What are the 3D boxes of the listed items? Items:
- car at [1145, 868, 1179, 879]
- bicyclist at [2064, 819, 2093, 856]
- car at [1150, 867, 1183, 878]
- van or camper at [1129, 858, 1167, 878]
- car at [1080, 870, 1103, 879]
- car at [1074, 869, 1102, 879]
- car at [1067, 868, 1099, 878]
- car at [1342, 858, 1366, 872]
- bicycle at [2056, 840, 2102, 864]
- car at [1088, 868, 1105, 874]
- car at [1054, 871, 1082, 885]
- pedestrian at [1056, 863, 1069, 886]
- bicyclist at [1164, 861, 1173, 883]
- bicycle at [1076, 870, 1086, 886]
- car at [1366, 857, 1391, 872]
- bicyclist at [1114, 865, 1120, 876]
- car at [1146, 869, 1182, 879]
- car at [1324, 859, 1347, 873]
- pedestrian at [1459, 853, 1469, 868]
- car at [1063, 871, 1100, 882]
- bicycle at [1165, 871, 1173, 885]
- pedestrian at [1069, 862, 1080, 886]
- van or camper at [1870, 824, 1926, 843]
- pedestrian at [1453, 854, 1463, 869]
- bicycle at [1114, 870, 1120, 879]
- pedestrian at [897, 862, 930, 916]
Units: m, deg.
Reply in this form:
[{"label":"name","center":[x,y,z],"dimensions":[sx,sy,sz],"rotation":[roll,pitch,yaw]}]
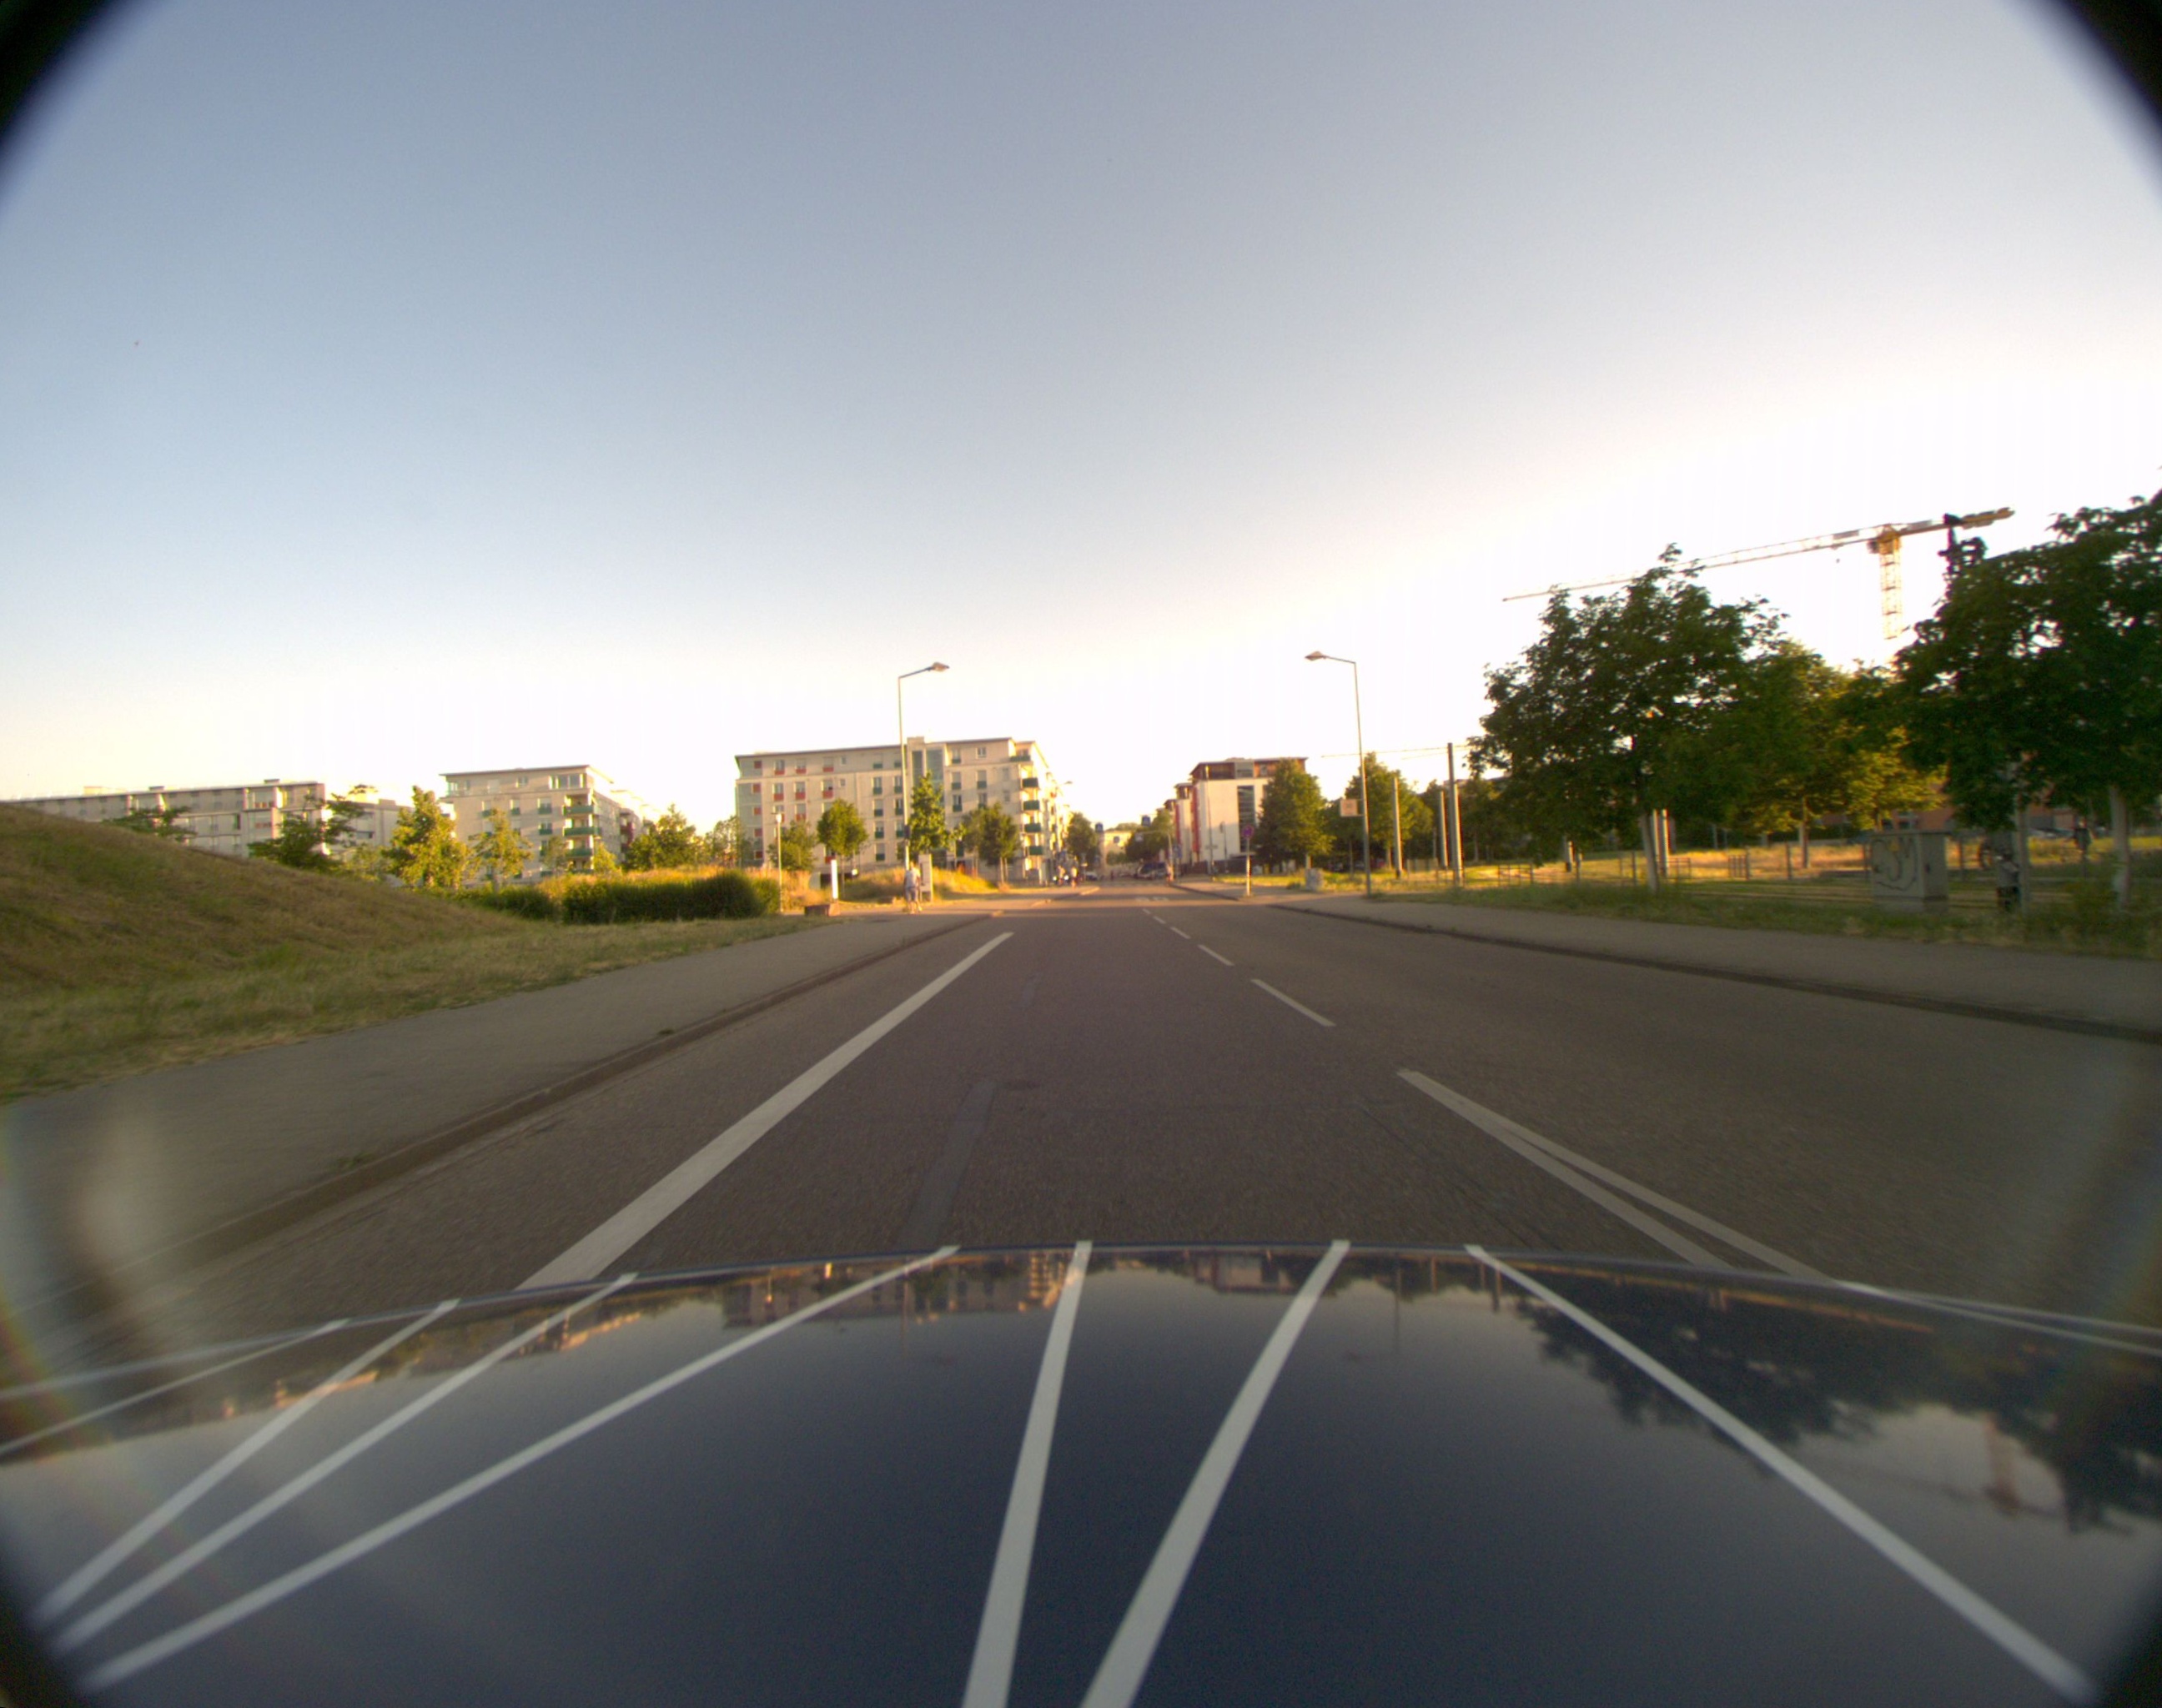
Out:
[{"label":"car","center":[11.828,2.843,111.467],"dimensions":[4.759,1.575,1.759],"rotation":[0,-2,-2]},{"label":"bicyclist","center":[41.185,-0.683,31.379],"dimensions":[0.513,1.485,0.424],"rotation":[-3,-2,2]},{"label":"car","center":[11.652,2.520,103.233],"dimensions":[4.291,1.448,1.681],"rotation":[0,-2,0]},{"label":"van or camper","center":[11.792,2.492,134.148],"dimensions":[6.314,3.068,2.442],"rotation":[-3,-1,-3]},{"label":"car","center":[1.951,3.803,141.076],"dimensions":[4.250,1.527,1.693],"rotation":[0,-2,3]},{"label":"car","center":[1.096,3.020,116.458],"dimensions":[4.294,1.498,1.686],"rotation":[0,-2,-1]},{"label":"car","center":[0.302,2.657,106.432],"dimensions":[4.410,1.498,1.744],"rotation":[0,-2,5]},{"label":"car","center":[30.951,1.262,86.295],"dimensions":[1.593,1.491,3.412],"rotation":[-3,-1,4]},{"label":"bicycle","center":[41.205,-0.085,31.362],"dimensions":[1.235,0.894,0.431],"rotation":[-3,-2,1]},{"label":"car","center":[3.932,4.293,194.621],"dimensions":[4.250,1.628,1.693],"rotation":[0,-2,3]},{"label":"car","center":[-1.401,2.676,83.833],"dimensions":[1.774,1.453,4.186],"rotation":[-1,-2,20]},{"label":"pedestrian","center":[-1.404,1.591,57.992],"dimensions":[0.801,1.719,0.768],"rotation":[-3,-2,10]},{"label":"bicyclist","center":[6.855,1.420,59.340],"dimensions":[0.616,1.652,1.037],"rotation":[-3,-2,5]},{"label":"bicycle","center":[0.013,1.769,56.783],"dimensions":[0.451,1.161,1.942],"rotation":[-3,-2,7]},{"label":"car","center":[33.550,1.185,85.689],"dimensions":[1.593,1.491,3.412],"rotation":[-3,-1,4]},{"label":"bicyclist","center":[5.377,2.455,113.828],"dimensions":[0.767,1.617,0.663],"rotation":[-3,-2,1]},{"label":"car","center":[11.663,2.801,106.743],"dimensions":[4.915,1.469,1.711],"rotation":[0,-2,0]},{"label":"car","center":[28.986,1.357,86.561],"dimensions":[1.689,1.513,3.412],"rotation":[-3,-1,4]},{"label":"pedestrian","center":[44.189,0.748,87.634],"dimensions":[0.742,1.657,0.625],"rotation":[-4,0,8]},{"label":"car","center":[0.131,3.040,103.429],"dimensions":[4.885,1.448,1.939],"rotation":[0,-2,4]},{"label":"bicycle","center":[6.889,1.886,59.231],"dimensions":[0.539,1.036,1.926],"rotation":[-3,-2,6]},{"label":"pedestrian","center":[-0.488,1.484,56.878],"dimensions":[0.595,1.790,0.818],"rotation":[-3,-2,8]},{"label":"van or camper","center":[86.643,-2.141,80.609],"dimensions":[1.832,1.684,3.882],"rotation":[-3,-2,4]},{"label":"pedestrian","center":[43.861,0.877,88.437],"dimensions":[0.712,1.590,0.657],"rotation":[-4,0,10]},{"label":"bicycle","center":[5.407,3.070,113.770],"dimensions":[0.771,1.259,1.782],"rotation":[-3,-2,1]},{"label":"pedestrian","center":[-5.527,1.129,25.142],"dimensions":[0.833,1.756,0.818],"rotation":[0,0,8]}]
